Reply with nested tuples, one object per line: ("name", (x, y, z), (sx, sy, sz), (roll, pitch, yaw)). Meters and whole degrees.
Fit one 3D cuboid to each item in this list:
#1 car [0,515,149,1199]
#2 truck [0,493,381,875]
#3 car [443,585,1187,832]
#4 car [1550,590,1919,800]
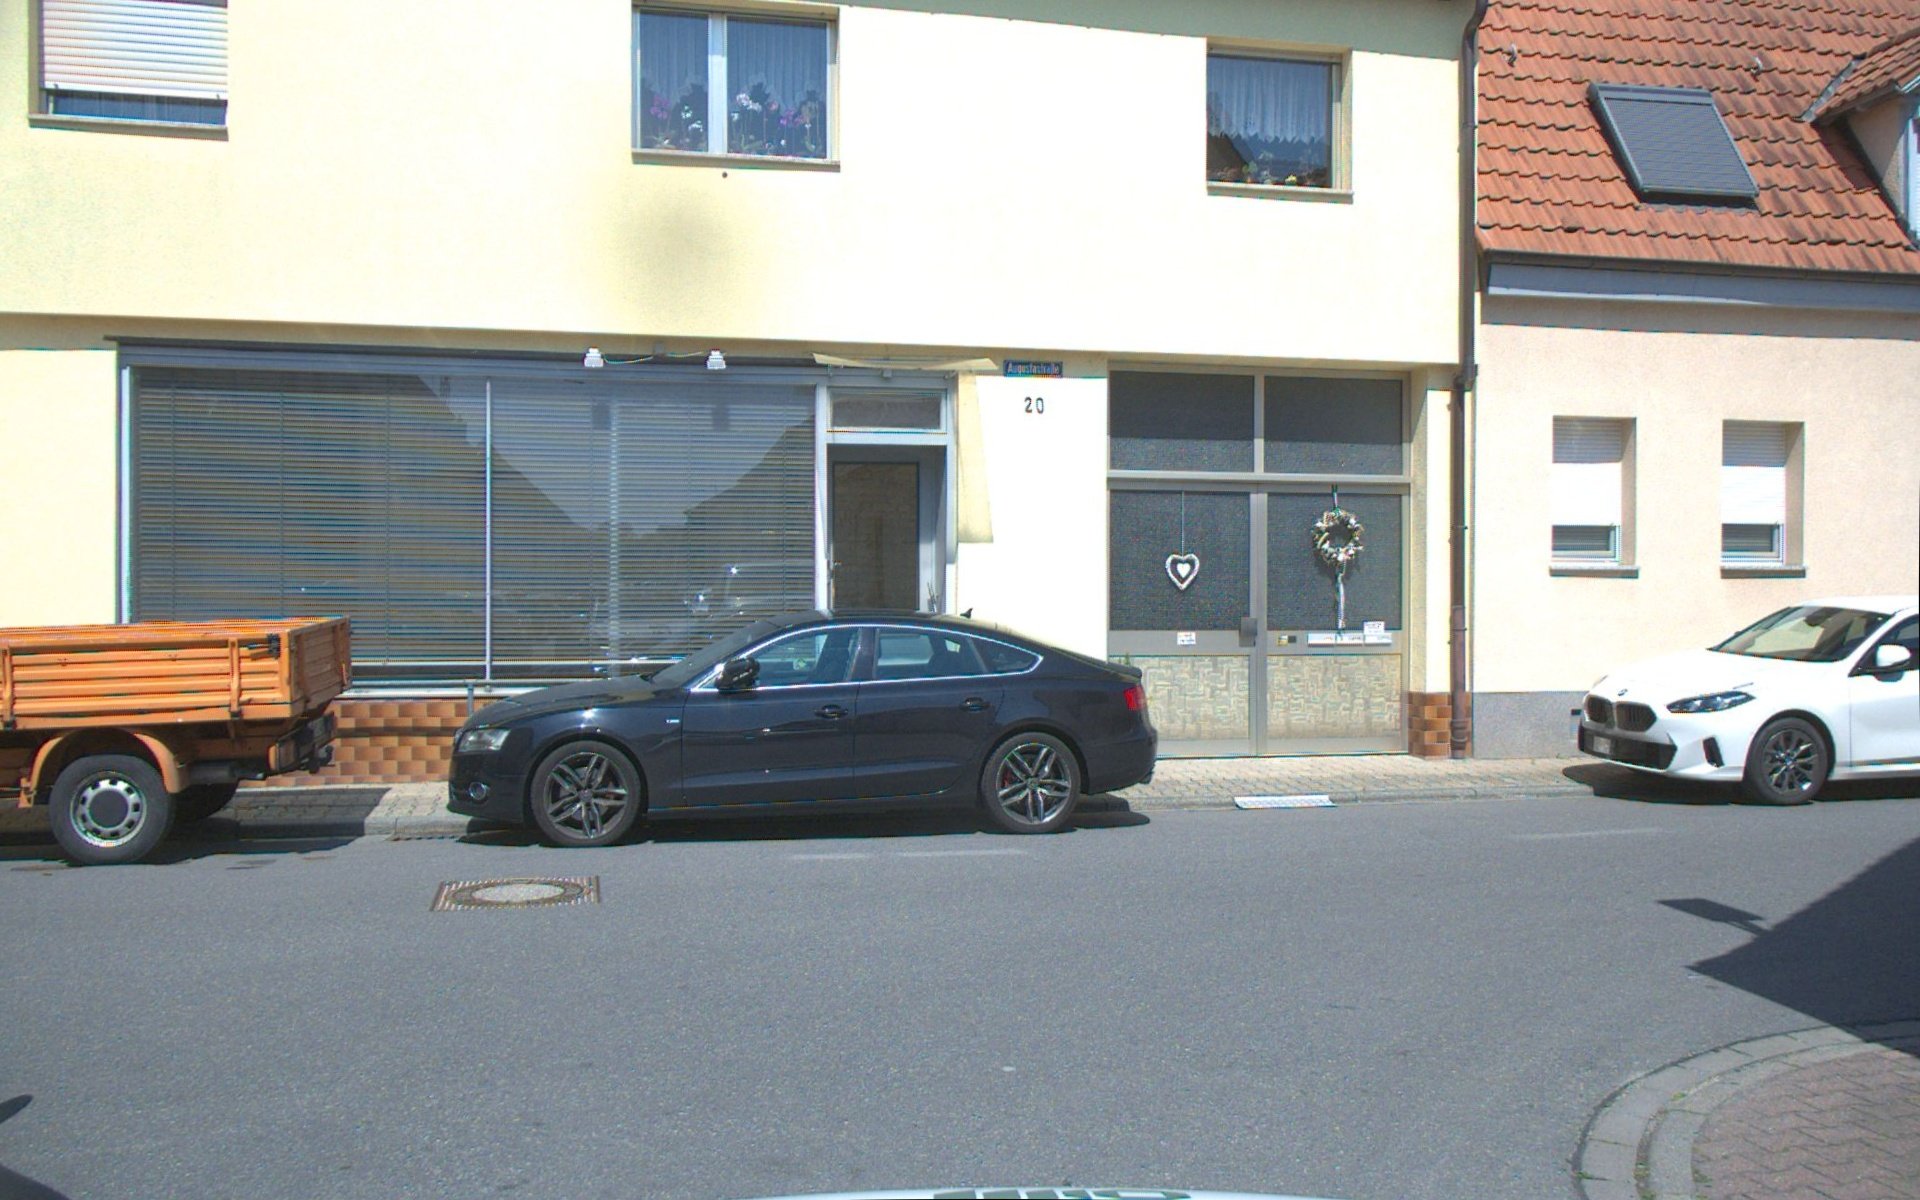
("car", (-3.569, 0.682, 3.455), (4.199, 1.610, 1.754), (0, 1, 39))
("truck", (-6.209, 0.438, 9.763), (4.974, 2.049, 2.183), (1, 0, -12))
("car", (-0.966, 0.687, 10.978), (4.537, 1.419, 1.921), (1, -3, -13))
("car", (6.984, 0.691, 12.985), (4.127, 1.479, 1.783), (1, 0, -12))
